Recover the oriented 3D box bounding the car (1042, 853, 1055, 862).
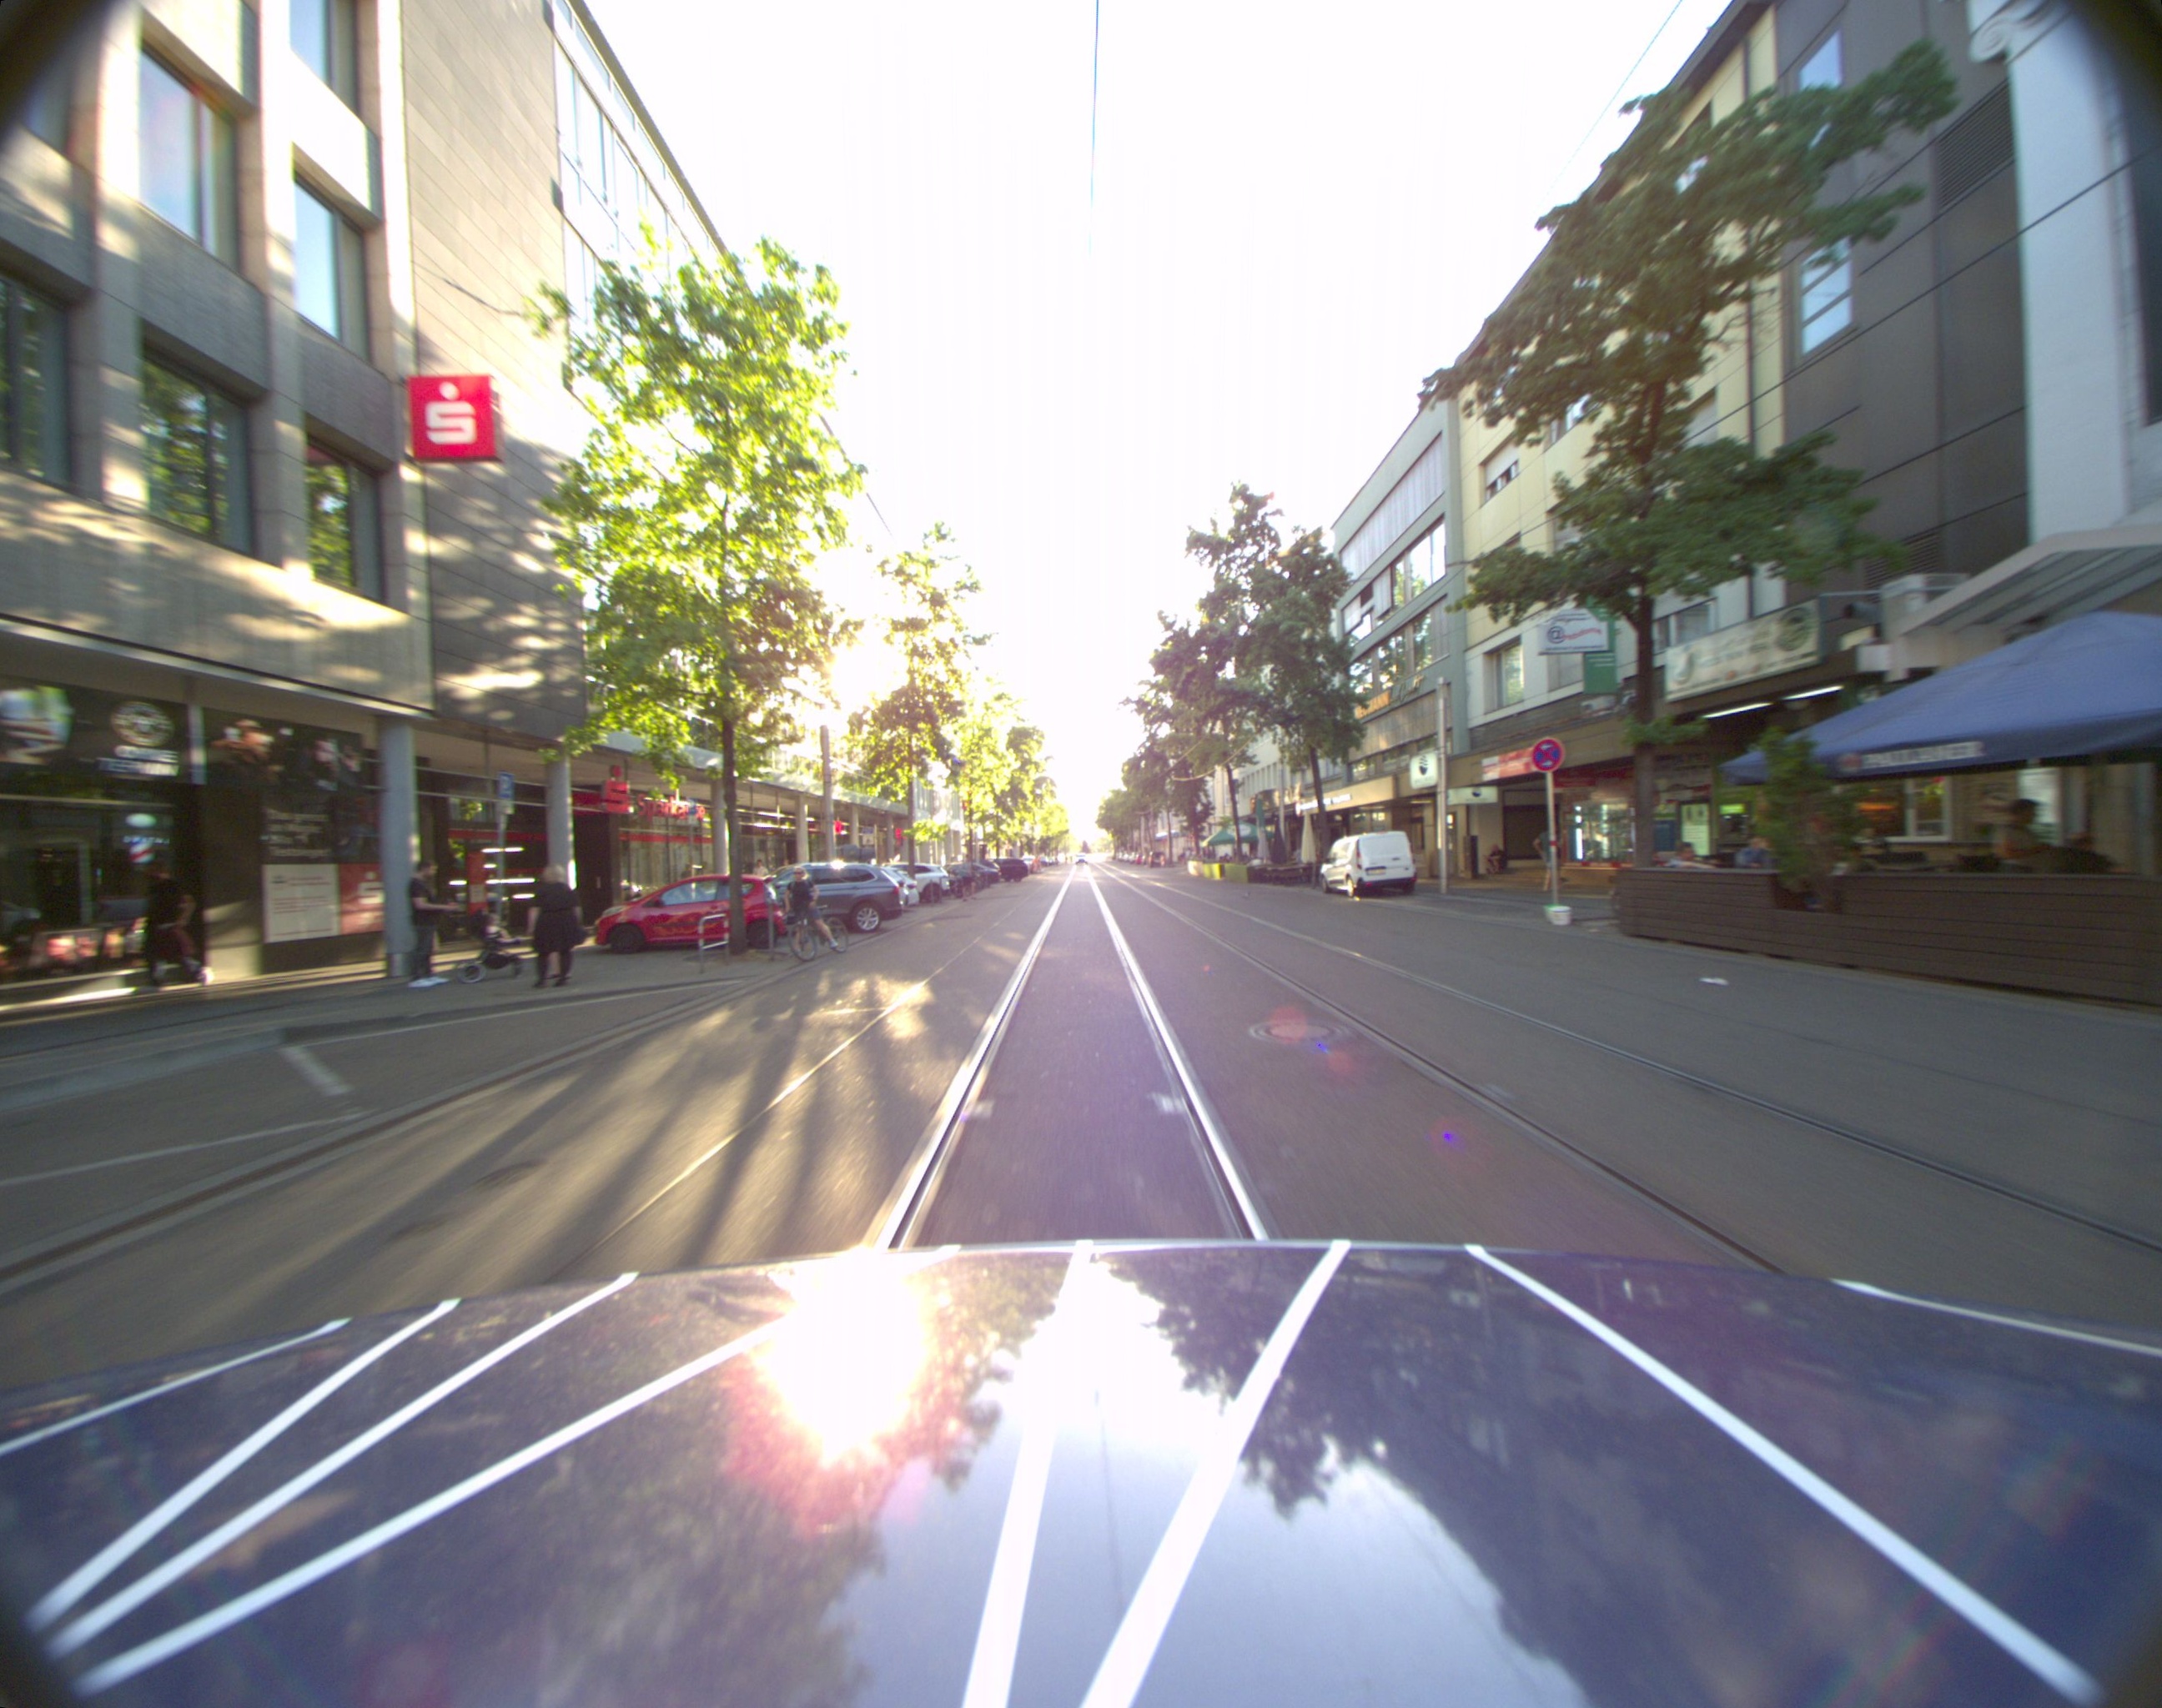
[{"bbox_3d":[-5.408,0.568,126.764,1.871,1.502,4.241,0,0,-8],"label":"car"}]

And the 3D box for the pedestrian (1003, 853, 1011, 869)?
[{"bbox_3d":[-8.903,0.888,91.690,0.835,1.886,0.918,-1,1,3],"label":"pedestrian"}]

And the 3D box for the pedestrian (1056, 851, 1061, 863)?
[{"bbox_3d":[-3.457,0.425,116.450,0.705,1.858,0.792,-3,1,-2],"label":"pedestrian"}]

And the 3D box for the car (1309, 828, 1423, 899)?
[{"bbox_3d":[8.683,0.265,23.601,1.800,1.854,4.553,-5,0,1],"label":"car"}]

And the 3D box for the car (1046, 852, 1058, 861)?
[{"bbox_3d":[-5.162,0.498,136.503,1.770,1.502,4.286,-3,0,1],"label":"car"}]

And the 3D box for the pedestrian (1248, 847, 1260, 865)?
[{"bbox_3d":[12.926,0.161,56.649,0.646,1.262,0.738,-4,1,1],"label":"pedestrian"}]

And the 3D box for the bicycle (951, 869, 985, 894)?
[{"bbox_3d":[-5.405,1.291,36.452,0.480,1.157,1.698,2,1,40],"label":"bicycle"}]

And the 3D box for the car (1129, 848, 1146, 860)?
[{"bbox_3d":[8.732,-0.035,117.797,1.870,1.679,4.949,-5,0,-3],"label":"car"}]

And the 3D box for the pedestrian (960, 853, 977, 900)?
[{"bbox_3d":[-4.606,0.902,31.101,0.584,1.908,0.663,0,1,2],"label":"pedestrian"}]

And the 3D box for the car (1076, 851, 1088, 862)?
[{"bbox_3d":[0.226,0.397,125.152,1.827,1.603,3.796,-2,0,1],"label":"car"}]

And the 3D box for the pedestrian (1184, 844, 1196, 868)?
[{"bbox_3d":[8.570,0.148,59.730,0.759,1.781,0.687,-4,1,1],"label":"pedestrian"}]

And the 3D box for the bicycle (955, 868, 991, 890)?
[{"bbox_3d":[-5.498,1.258,38.634,1.566,1.082,0.867,1,-1,-30],"label":"bicycle"}]

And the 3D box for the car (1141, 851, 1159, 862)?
[{"bbox_3d":[8.979,0.255,99.059,1.722,1.238,4.507,-5,0,0],"label":"car"}]

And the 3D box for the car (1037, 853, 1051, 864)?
[{"bbox_3d":[-5.735,0.711,118.906,1.985,1.679,4.873,0,0,0],"label":"car"}]

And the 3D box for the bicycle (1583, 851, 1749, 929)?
[{"bbox_3d":[9.565,0.571,12.547,0.700,1.114,2.084,-5,0,-17],"label":"bicycle"}]

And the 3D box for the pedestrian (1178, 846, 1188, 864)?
[{"bbox_3d":[10.678,0.132,79.564,0.867,1.771,0.884,-5,1,0],"label":"pedestrian"}]

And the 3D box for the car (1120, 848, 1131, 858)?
[{"bbox_3d":[9.114,-0.211,155.421,1.952,1.731,4.765,-5,0,0],"label":"car"}]

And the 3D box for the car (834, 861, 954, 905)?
[{"bbox_3d":[-7.237,1.080,29.531,4.167,1.562,1.849,0,0,-33],"label":"car"}]

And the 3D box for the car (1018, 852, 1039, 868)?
[{"bbox_3d":[-5.800,0.643,84.185,2.028,1.727,4.906,0,0,-1],"label":"car"}]

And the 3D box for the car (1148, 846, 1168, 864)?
[{"bbox_3d":[8.660,0.116,85.578,1.862,1.821,4.559,-3,0,2],"label":"car"}]

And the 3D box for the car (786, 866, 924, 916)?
[{"bbox_3d":[-7.410,1.157,24.929,4.165,1.490,1.685,0,0,-23],"label":"car"}]

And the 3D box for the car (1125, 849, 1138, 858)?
[{"bbox_3d":[9.031,-0.038,136.061,1.897,1.458,4.616,-5,0,1],"label":"car"}]

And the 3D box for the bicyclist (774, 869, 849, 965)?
[{"bbox_3d":[-4.823,1.113,13.628,0.778,1.603,0.913,-4,0,14],"label":"bicyclist"}]

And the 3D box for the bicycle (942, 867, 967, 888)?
[{"bbox_3d":[-6.857,1.246,41.129,0.553,1.101,1.845,0,0,-35],"label":"bicycle"}]

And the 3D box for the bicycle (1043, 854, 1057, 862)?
[{"bbox_3d":[-5.471,0.703,133.137,2.325,1.181,0.751,-2,1,2],"label":"bicycle"}]

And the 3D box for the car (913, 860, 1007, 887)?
[{"bbox_3d":[-7.009,1.079,44.285,5.071,1.460,1.972,0,0,-36],"label":"car"}]

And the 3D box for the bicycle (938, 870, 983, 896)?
[{"bbox_3d":[-5.459,1.291,34.331,1.899,1.113,0.666,0,1,-29],"label":"bicycle"}]

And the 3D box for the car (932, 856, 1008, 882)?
[{"bbox_3d":[-7.438,0.978,50.968,4.672,1.645,2.004,0,0,-24],"label":"car"}]

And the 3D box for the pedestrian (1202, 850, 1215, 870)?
[{"bbox_3d":[9.172,0.395,54.654,0.691,1.378,0.807,-4,1,1],"label":"pedestrian"}]

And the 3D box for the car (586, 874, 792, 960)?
[{"bbox_3d":[-7.537,1.163,14.981,3.401,1.472,1.664,0,0,-19],"label":"car"}]

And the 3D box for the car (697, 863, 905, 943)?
[{"bbox_3d":[-6.560,1.071,17.939,4.363,1.642,1.690,0,0,-31],"label":"car"}]

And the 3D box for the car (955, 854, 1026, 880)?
[{"bbox_3d":[-6.447,0.918,54.187,4.674,1.753,1.990,0,1,-29],"label":"car"}]

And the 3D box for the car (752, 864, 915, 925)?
[{"bbox_3d":[-7.269,1.126,22.377,4.256,1.578,1.880,0,0,-31],"label":"car"}]

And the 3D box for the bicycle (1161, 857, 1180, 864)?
[{"bbox_3d":[9.063,0.677,77.045,1.799,0.605,1.282,-3,0,3],"label":"bicycle"}]

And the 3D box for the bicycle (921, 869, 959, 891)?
[{"bbox_3d":[-7.013,1.277,37.771,1.677,1.068,0.731,1,-1,-30],"label":"bicycle"}]

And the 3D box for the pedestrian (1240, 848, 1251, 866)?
[{"bbox_3d":[12.265,0.205,56.729,0.628,1.274,0.727,-4,1,1],"label":"pedestrian"}]

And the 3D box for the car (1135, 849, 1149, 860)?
[{"bbox_3d":[8.652,0.057,107.871,1.664,1.397,4.140,-5,0,1],"label":"car"}]

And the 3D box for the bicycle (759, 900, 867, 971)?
[{"bbox_3d":[-4.717,1.410,13.561,0.719,0.989,2.061,-4,0,14],"label":"bicycle"}]

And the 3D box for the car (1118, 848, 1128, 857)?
[{"bbox_3d":[9.334,-0.347,170.295,1.932,1.946,4.765,-2,0,0],"label":"car"}]

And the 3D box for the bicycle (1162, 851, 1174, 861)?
[{"bbox_3d":[10.585,0.295,92.295,0.760,1.115,2.045,-5,1,-11],"label":"bicycle"}]
